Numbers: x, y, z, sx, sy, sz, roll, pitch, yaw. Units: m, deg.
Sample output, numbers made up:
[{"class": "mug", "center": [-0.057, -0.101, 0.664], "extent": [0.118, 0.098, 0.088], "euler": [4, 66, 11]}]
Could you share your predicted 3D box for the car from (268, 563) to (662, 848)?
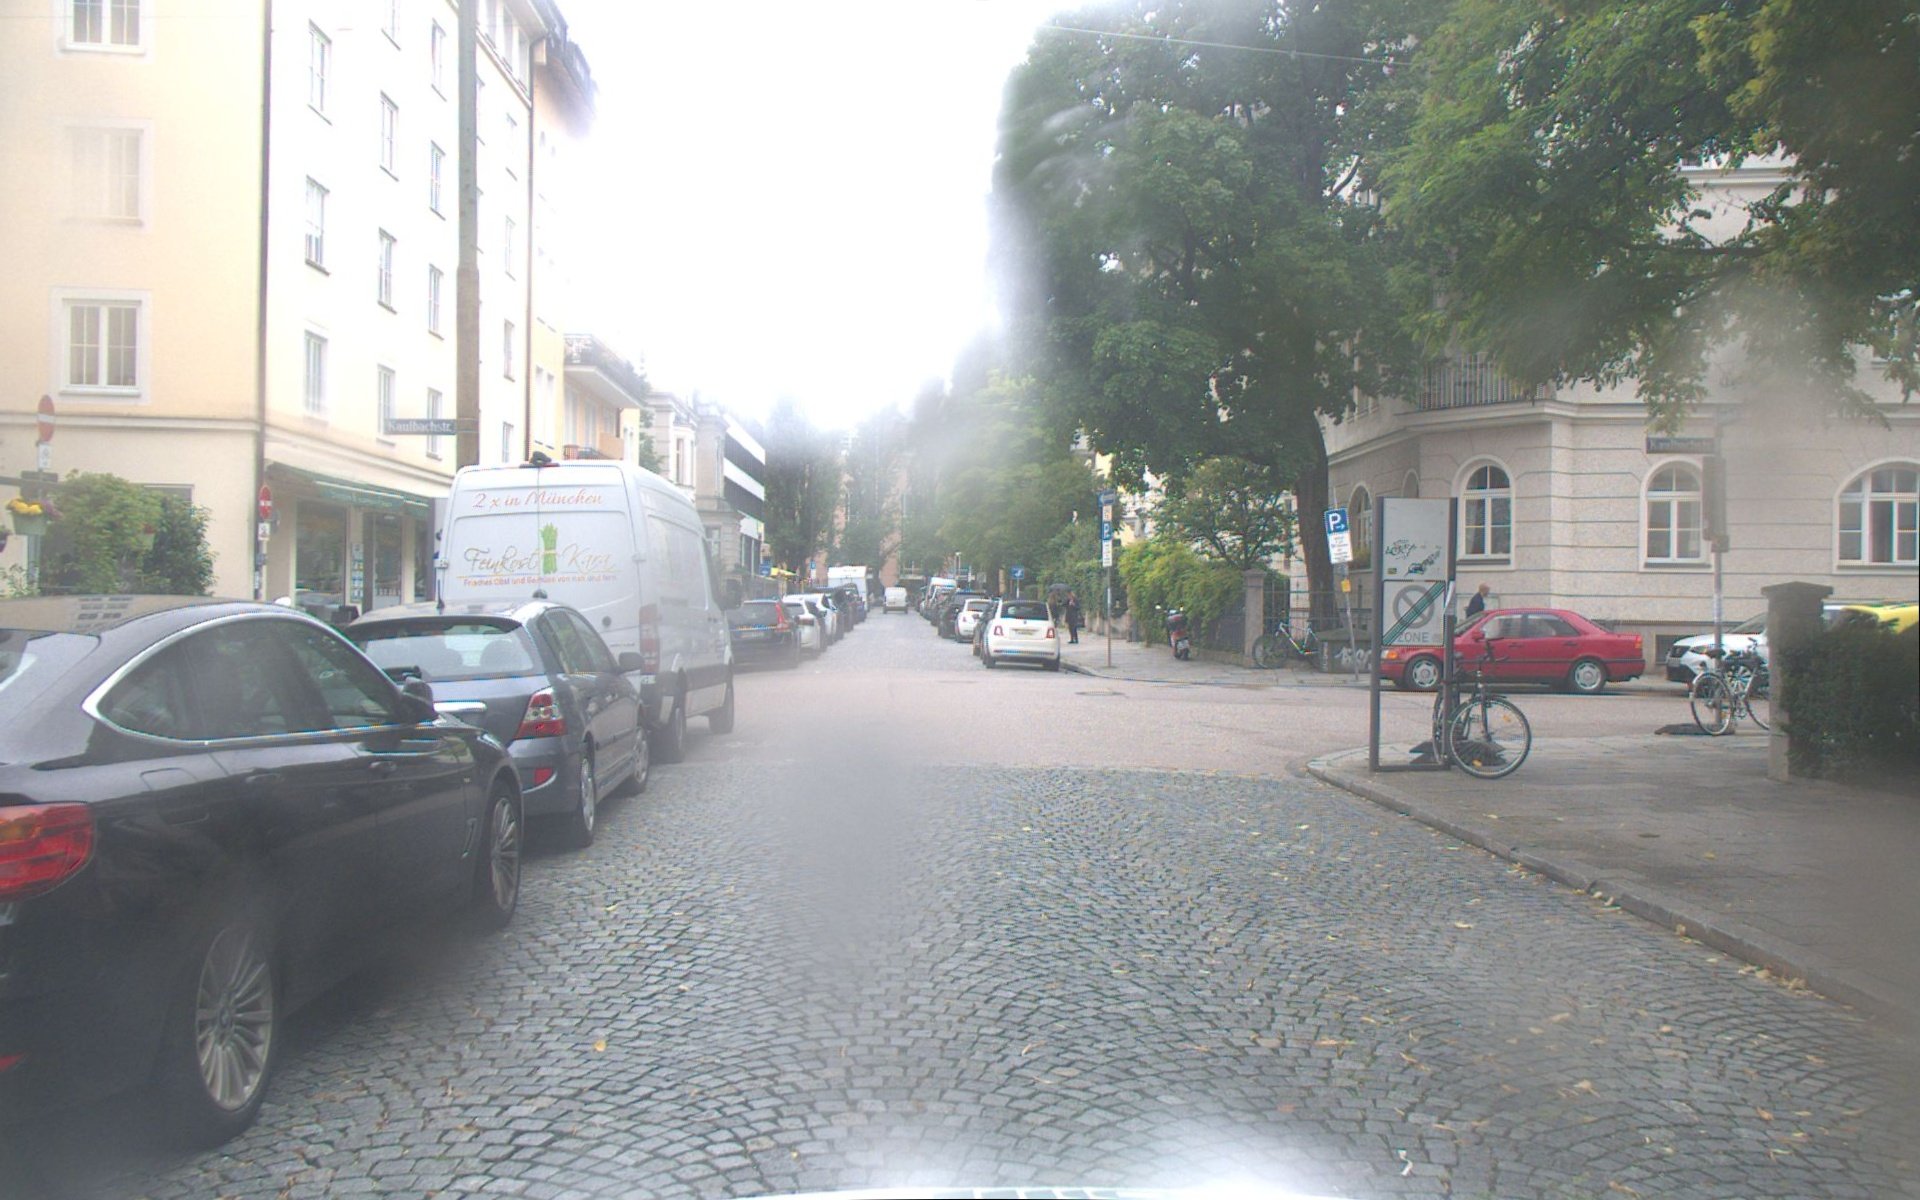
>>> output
[{"class": "car", "center": [-3.002, 0.581, 10.859], "extent": [1.629, 1.508, 3.978], "euler": [1, 0, -4]}]

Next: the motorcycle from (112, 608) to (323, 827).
[{"class": "motorcycle", "center": [-5.150, 0.760, 11.623], "extent": [0.661, 1.393, 2.057], "euler": [1, 0, -4]}]

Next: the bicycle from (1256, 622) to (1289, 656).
[{"class": "bicycle", "center": [8.116, 1.001, 43.056], "extent": [0.481, 0.826, 2.274], "euler": [1, 0, 2]}]

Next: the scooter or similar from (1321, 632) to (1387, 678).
[{"class": "scooter or similar", "center": [7.755, 1.084, 32.599], "extent": [1.158, 0.863, 0.925], "euler": [1, -1, 7]}]

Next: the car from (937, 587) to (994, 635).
[{"class": "car", "center": [0.167, 0.407, 62.655], "extent": [1.837, 1.702, 5.487], "euler": [1, 0, -3]}]

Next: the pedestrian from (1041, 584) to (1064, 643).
[{"class": "pedestrian", "center": [3.033, 0.444, 54.079], "extent": [0.666, 1.882, 0.577], "euler": [1, -1, -2]}]

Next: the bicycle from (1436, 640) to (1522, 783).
[{"class": "bicycle", "center": [4.561, 0.951, 14.609], "extent": [0.380, 1.167, 1.590], "euler": [0, -1, 4]}]

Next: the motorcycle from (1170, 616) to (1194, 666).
[{"class": "motorcycle", "center": [5.061, 0.937, 37.777], "extent": [0.355, 1.109, 1.403], "euler": [1, 0, 0]}]

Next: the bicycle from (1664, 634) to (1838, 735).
[{"class": "bicycle", "center": [8.911, 0.959, 18.670], "extent": [1.568, 1.088, 0.739], "euler": [-1, -4, 0]}]

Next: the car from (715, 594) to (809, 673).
[{"class": "car", "center": [-4.351, 0.720, 36.922], "extent": [1.815, 1.614, 4.744], "euler": [1, 0, -4]}]

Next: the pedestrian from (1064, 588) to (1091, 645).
[{"class": "pedestrian", "center": [3.850, 0.536, 54.326], "extent": [0.620, 1.840, 0.655], "euler": [1, -1, -26]}]

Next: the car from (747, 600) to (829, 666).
[{"class": "car", "center": [-4.283, 0.800, 41.744], "extent": [1.738, 1.563, 4.538], "euler": [1, 0, -2]}]

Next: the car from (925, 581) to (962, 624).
[{"class": "car", "center": [-1.069, 0.127, 101.593], "extent": [1.857, 2.468, 5.608], "euler": [4, 0, -3]}]

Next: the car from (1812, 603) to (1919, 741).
[{"class": "car", "center": [12.916, 0.891, 20.284], "extent": [3.987, 1.625, 1.907], "euler": [1, 0, 9]}]

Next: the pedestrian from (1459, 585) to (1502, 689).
[{"class": "pedestrian", "center": [9.693, 0.685, 30.829], "extent": [0.484, 1.909, 0.741], "euler": [1, -1, -7]}]

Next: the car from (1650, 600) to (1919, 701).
[{"class": "car", "center": [13.590, 0.811, 27.221], "extent": [3.805, 1.548, 1.566], "euler": [1, 0, 3]}]

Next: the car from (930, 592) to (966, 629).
[{"class": "car", "center": [-0.731, 0.597, 96.164], "extent": [1.764, 1.983, 4.857], "euler": [3, 0, -3]}]

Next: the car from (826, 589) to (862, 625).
[{"class": "car", "center": [-5.832, 0.367, 83.659], "extent": [1.738, 1.748, 4.388], "euler": [1, 0, -3]}]

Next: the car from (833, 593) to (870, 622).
[{"class": "car", "center": [-5.822, 0.425, 89.029], "extent": [1.901, 1.485, 4.055], "euler": [1, 0, -3]}]

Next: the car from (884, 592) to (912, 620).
[{"class": "car", "center": [-4.485, 0.456, 119.783], "extent": [1.956, 1.970, 3.999], "euler": [1, 0, -1]}]

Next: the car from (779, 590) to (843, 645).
[{"class": "car", "center": [-4.731, 0.555, 53.081], "extent": [1.738, 1.676, 4.389], "euler": [1, 0, -2]}]

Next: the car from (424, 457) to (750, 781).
[{"class": "car", "center": [-3.438, 0.169, 16.517], "extent": [1.937, 2.619, 5.793], "euler": [-1, 0, 0]}]

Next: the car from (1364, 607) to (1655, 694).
[{"class": "car", "center": [9.187, 0.827, 27.923], "extent": [4.373, 1.382, 1.761], "euler": [0, 0, 5]}]

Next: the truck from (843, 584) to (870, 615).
[{"class": "truck", "center": [-8.066, -0.033, 129.056], "extent": [1.953, 2.388, 4.066], "euler": [1, 0, -2]}]

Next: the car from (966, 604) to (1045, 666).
[{"class": "car", "center": [1.157, 0.892, 44.067], "extent": [1.615, 1.446, 4.629], "euler": [4, -1, -3]}]

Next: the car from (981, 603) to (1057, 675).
[{"class": "car", "center": [1.270, 0.843, 36.910], "extent": [1.471, 1.497, 3.794], "euler": [1, 0, -1]}]

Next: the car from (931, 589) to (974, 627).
[{"class": "car", "center": [-0.407, 0.414, 83.023], "extent": [1.924, 1.789, 4.951], "euler": [1, 0, -3]}]

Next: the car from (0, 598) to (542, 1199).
[{"class": "car", "center": [-2.813, 0.765, 5.677], "extent": [1.691, 1.490, 4.471], "euler": [-2, 0, -2]}]

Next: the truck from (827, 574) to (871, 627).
[{"class": "truck", "center": [-6.694, 0.011, 100.132], "extent": [2.458, 3.084, 6.380], "euler": [-1, 1, -3]}]

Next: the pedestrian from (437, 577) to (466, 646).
[{"class": "pedestrian", "center": [-12.498, 0.284, 40.688], "extent": [0.511, 1.671, 0.629], "euler": [1, -1, -3]}]

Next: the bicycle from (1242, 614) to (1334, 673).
[{"class": "bicycle", "center": [6.636, 0.876, 33.519], "extent": [1.798, 1.144, 0.563], "euler": [1, 0, 8]}]

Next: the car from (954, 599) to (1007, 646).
[{"class": "car", "center": [0.685, 0.759, 57.570], "extent": [1.597, 1.495, 3.657], "euler": [3, 0, -2]}]

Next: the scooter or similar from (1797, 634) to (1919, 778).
[{"class": "scooter or similar", "center": [7.967, 0.882, 13.951], "extent": [1.569, 1.193, 0.405], "euler": [0, -1, 21]}]
